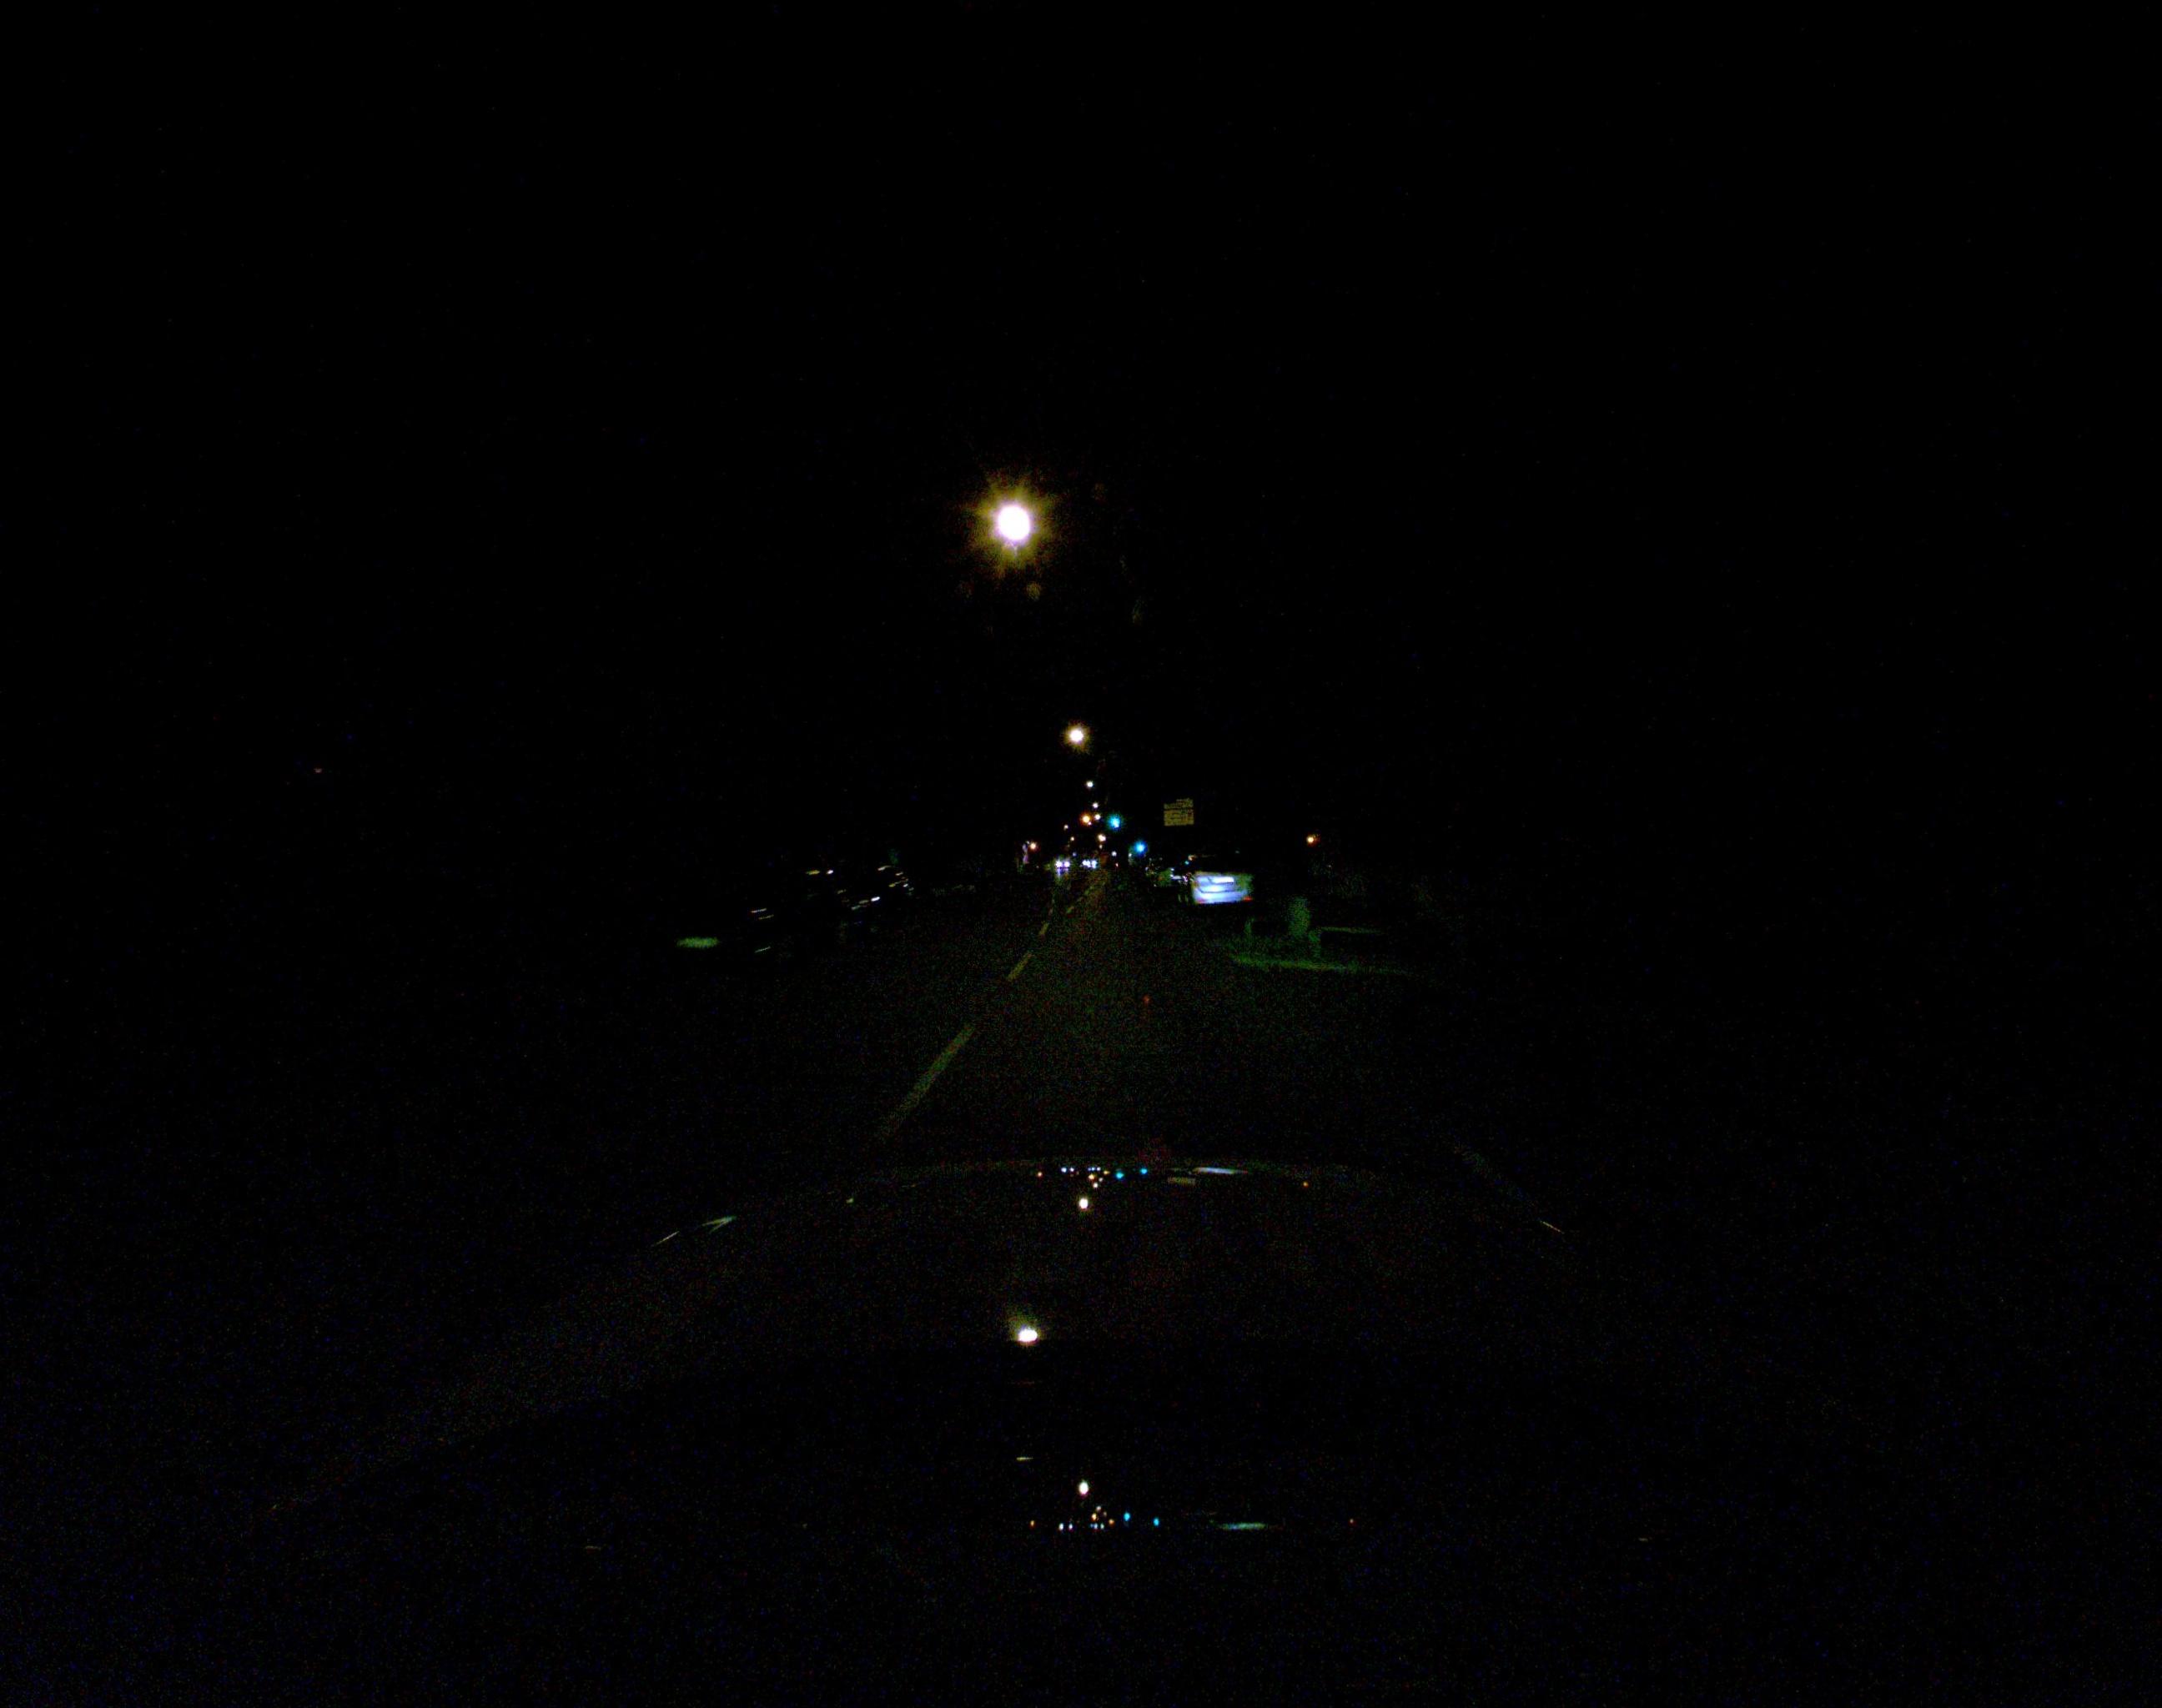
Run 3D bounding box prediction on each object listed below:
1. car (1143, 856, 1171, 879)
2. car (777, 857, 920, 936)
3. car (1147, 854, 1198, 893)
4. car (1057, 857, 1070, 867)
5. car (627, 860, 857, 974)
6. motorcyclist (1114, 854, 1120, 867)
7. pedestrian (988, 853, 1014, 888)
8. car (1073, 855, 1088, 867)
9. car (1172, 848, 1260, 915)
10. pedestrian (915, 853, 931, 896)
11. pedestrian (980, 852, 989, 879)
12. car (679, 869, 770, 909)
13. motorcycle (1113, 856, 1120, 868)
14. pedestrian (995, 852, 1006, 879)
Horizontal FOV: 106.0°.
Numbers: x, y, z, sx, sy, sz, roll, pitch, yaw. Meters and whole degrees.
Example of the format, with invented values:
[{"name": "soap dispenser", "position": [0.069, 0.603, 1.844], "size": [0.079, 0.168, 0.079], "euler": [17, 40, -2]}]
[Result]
[{"name": "car", "position": [5.120, 0.905, 55.225], "size": [1.623, 1.496, 3.414], "euler": [0, 0, 0]}, {"name": "car", "position": [-4.861, 0.815, 17.791], "size": [1.715, 1.437, 4.810], "euler": [0, 0, 0]}, {"name": "car", "position": [3.979, 0.810, 35.872], "size": [1.861, 1.526, 4.151], "euler": [-3, 0, 2]}, {"name": "car", "position": [-2.659, 1.221, 123.688], "size": [1.708, 1.457, 3.924], "euler": [0, -1, 2]}, {"name": "car", "position": [-4.918, 0.818, 12.526], "size": [1.715, 1.437, 4.191], "euler": [0, 0, 1]}, {"name": "motorcyclist", "position": [5.111, 0.954, 116.824], "size": [0.845, 1.752, 0.806], "euler": [0, -2, 2]}, {"name": "pedestrian", "position": [-3.956, 0.832, 40.331], "size": [0.757, 1.700, 0.932], "euler": [2, 0, 39]}, {"name": "car", "position": [0.014, 1.010, 114.029], "size": [1.937, 1.717, 4.002], "euler": [0, -1, 2]}, {"name": "car", "position": [3.610, 0.692, 22.522], "size": [1.805, 1.594, 4.275], "euler": [-3, 0, 2]}, {"name": "pedestrian", "position": [-6.303, 0.800, 32.564], "size": [0.580, 1.700, 0.530], "euler": [0, -2, -7]}, {"name": "pedestrian", "position": [-6.240, 0.747, 52.706], "size": [0.569, 1.700, 0.927], "euler": [0, -1, -7]}, {"name": "car", "position": [-13.930, 1.334, 31.796], "size": [3.224, 1.453, 1.806], "euler": [-1, -2, 34]}, {"name": "motorcycle", "position": [5.114, 1.157, 116.813], "size": [0.927, 1.752, 2.626], "euler": [0, -1, 2]}, {"name": "pedestrian", "position": [-5.243, 0.763, 52.949], "size": [0.717, 1.765, 0.602], "euler": [0, -2, -7]}]
